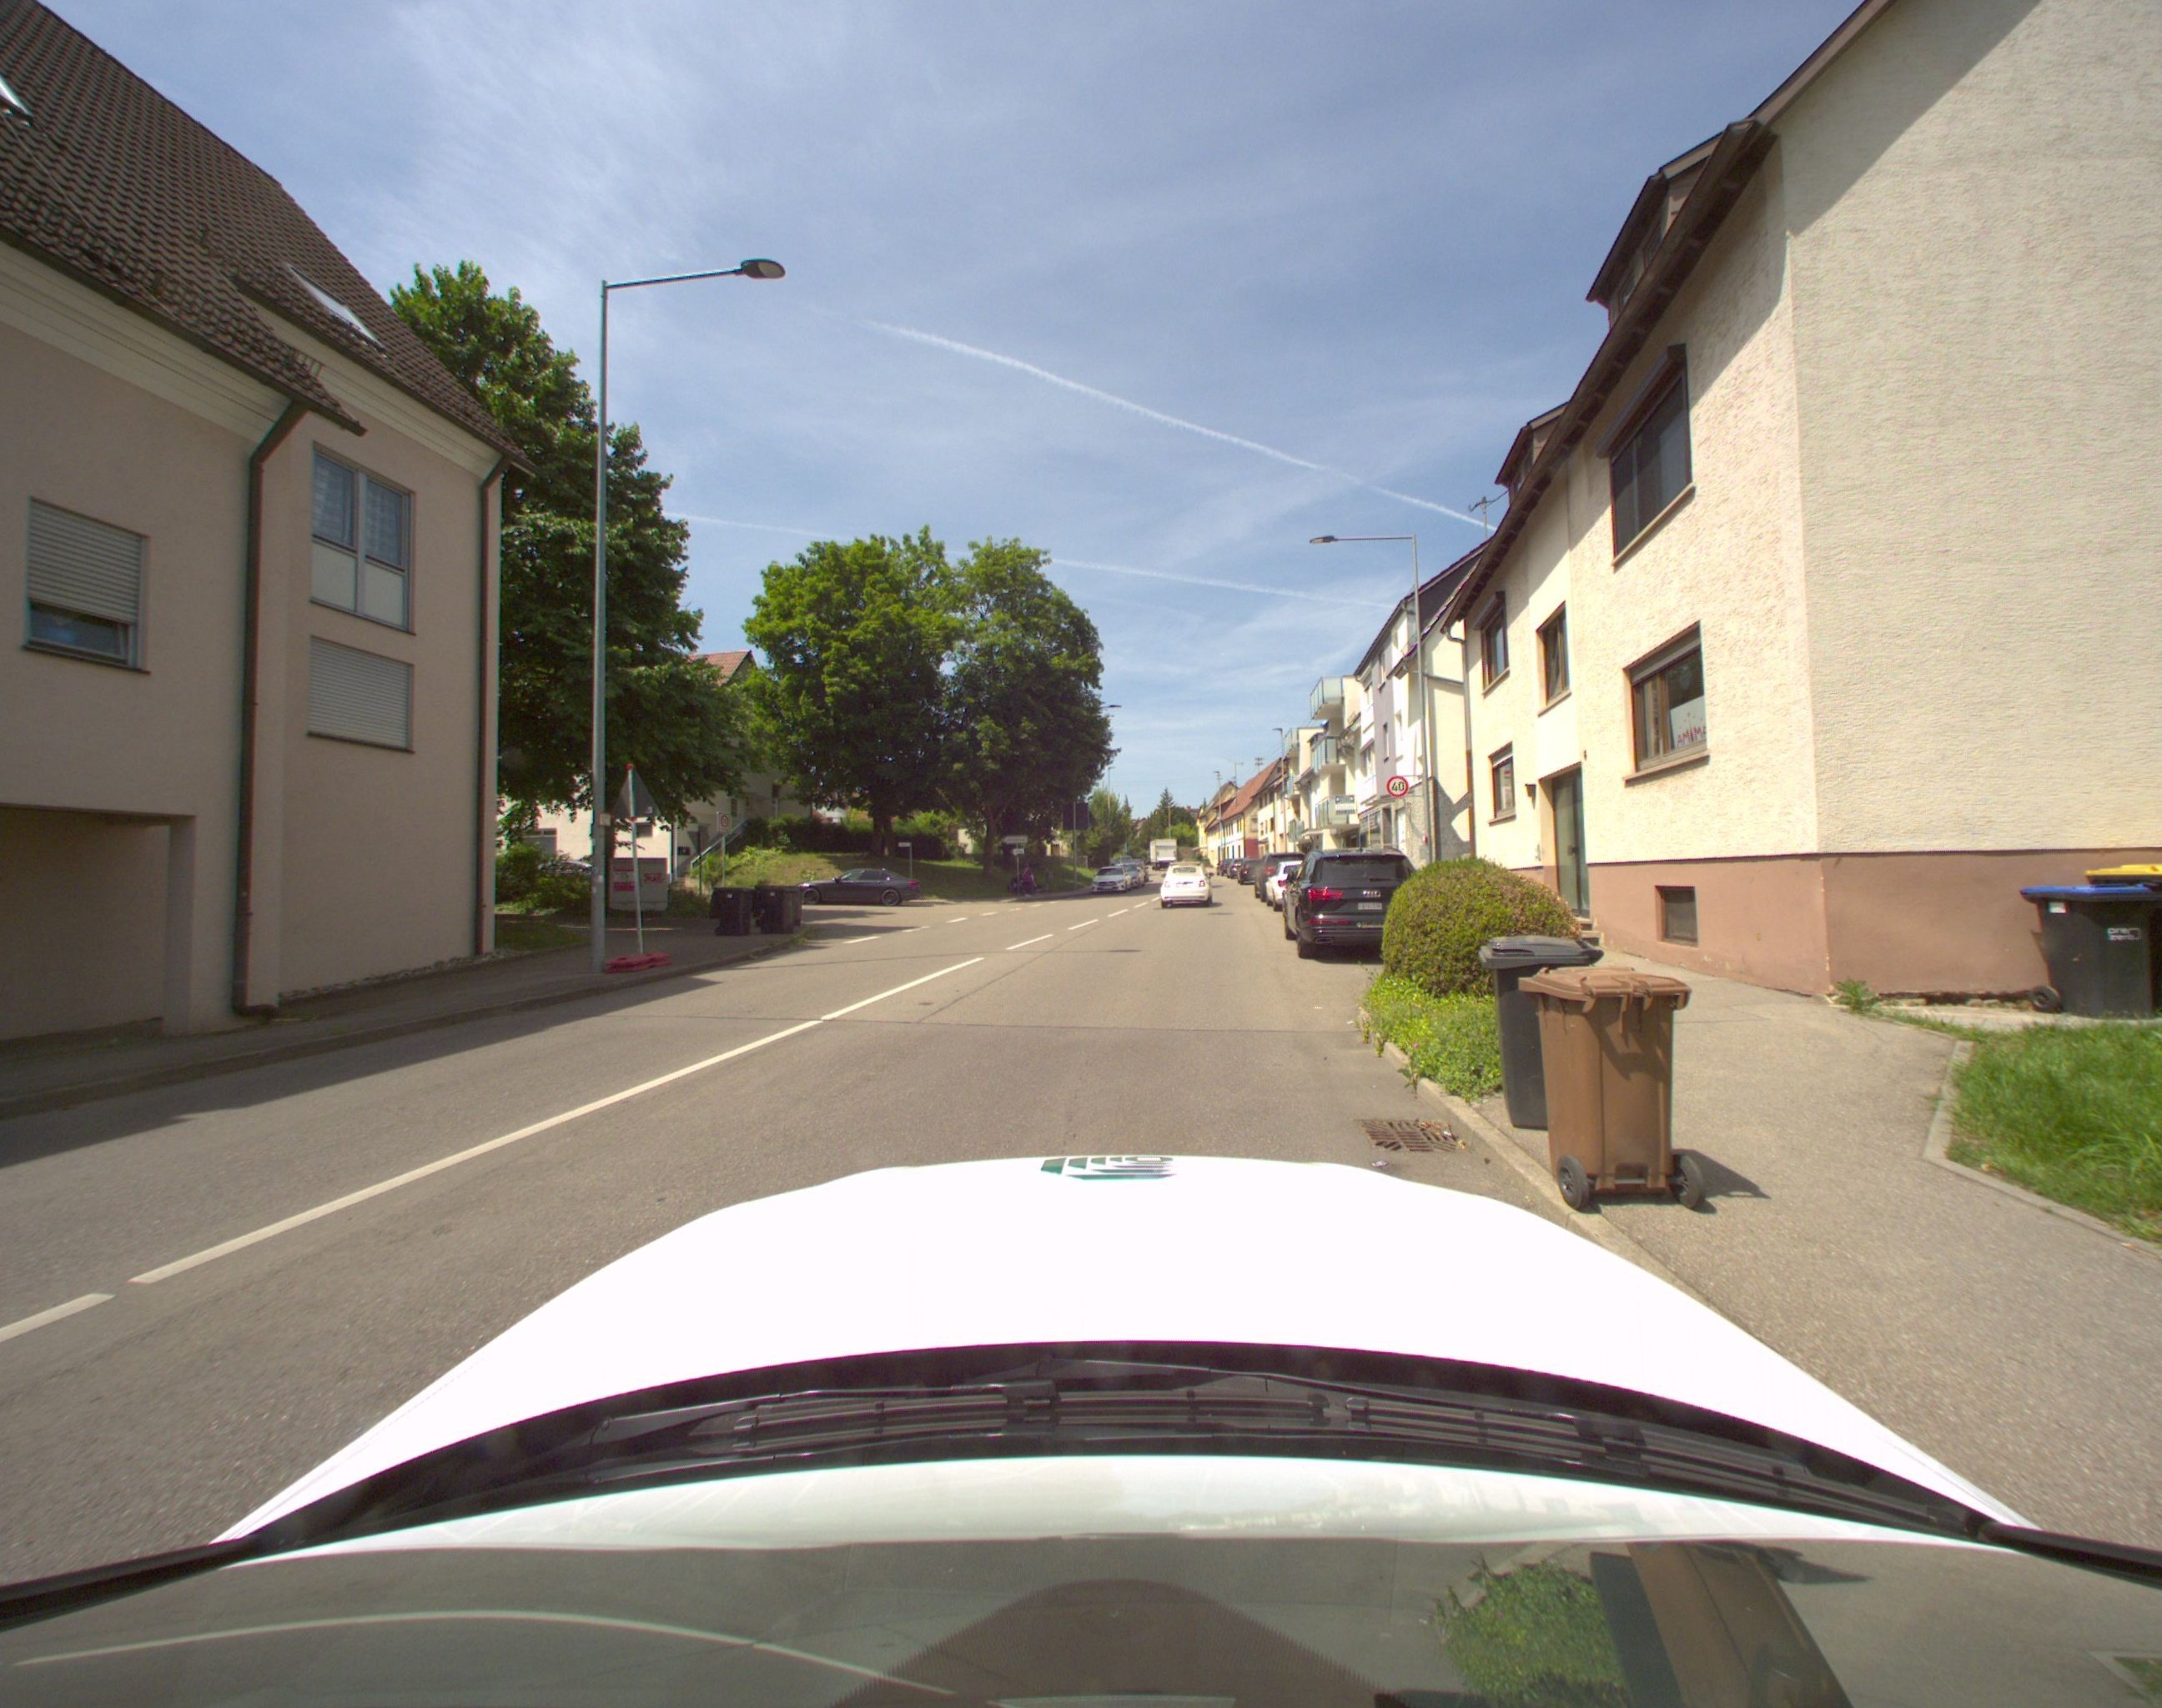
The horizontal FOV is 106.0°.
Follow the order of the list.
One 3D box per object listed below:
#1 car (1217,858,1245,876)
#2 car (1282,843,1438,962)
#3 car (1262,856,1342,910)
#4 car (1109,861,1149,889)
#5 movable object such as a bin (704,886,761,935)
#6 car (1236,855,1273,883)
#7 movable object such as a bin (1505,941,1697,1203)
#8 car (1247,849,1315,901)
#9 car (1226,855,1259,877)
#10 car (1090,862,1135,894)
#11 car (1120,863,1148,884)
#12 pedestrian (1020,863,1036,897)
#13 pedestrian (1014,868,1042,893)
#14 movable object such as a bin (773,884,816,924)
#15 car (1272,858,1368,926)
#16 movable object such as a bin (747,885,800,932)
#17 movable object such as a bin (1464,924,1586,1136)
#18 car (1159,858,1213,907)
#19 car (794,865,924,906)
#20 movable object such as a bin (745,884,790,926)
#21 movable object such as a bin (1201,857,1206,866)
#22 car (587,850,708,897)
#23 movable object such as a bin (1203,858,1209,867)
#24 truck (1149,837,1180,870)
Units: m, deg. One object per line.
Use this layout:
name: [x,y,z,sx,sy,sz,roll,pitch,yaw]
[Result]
car: [12.131,1.044,66.038,1.659,1.352,4.189,-2,0,2]
car: [4.513,0.724,13.860,1.832,1.670,4.669,-1,-1,10]
car: [6.732,0.825,25.249,1.779,1.455,4.727,-2,0,8]
car: [2.963,1.256,49.535,1.761,1.527,4.234,-4,-1,11]
movable object such as a bin: [-7.529,1.206,17.637,0.795,1.000,0.807,0,-1,12]
car: [9.809,0.859,46.341,1.786,1.424,4.300,-3,-1,9]
movable object such as a bin: [2.215,0.902,3.517,0.498,0.993,0.504,-1,-1,2]
car: [7.349,0.732,30.326,1.942,1.716,4.727,-3,-1,8]
car: [11.308,0.805,57.344,1.785,1.403,4.418,-3,0,5]
car: [1.740,1.229,43.388,1.744,1.467,4.374,-4,-1,9]
car: [4.027,1.418,61.203,1.795,1.424,4.937,-3,-1,7]
pedestrian: [-2.545,1.242,38.805,0.729,1.617,0.628,0,-1,-7]
pedestrian: [-2.653,1.313,40.630,1.227,1.269,0.649,0,-1,13]
movable object such as a bin: [-7.427,1.290,21.121,0.766,1.000,0.611,2,-2,13]
car: [5.735,0.856,19.988,1.777,1.420,4.371,-2,0,11]
movable object such as a bin: [-6.887,1.216,18.260,0.846,1.000,0.696,-1,-1,12]
movable object such as a bin: [2.342,0.895,4.340,0.520,0.993,0.504,-1,-1,24]
car: [3.729,0.941,28.566,1.715,1.560,4.010,-2,-1,9]
car: [-8.843,1.257,32.853,4.774,1.479,1.994,2,-1,-9]
movable object such as a bin: [-7.774,1.259,20.202,0.766,1.000,0.611,2,-2,12]
movable object such as a bin: [14.991,0.964,99.582,0.545,1.033,0.551,-5,0,1]
car: [-17.469,0.771,32.877,3.959,1.684,1.916,2,-1,13]
movable object such as a bin: [14.979,0.968,97.776,0.545,1.033,0.551,-5,0,1]
truck: [10.151,0.028,99.291,3.057,3.774,7.870,-2,-1,2]
